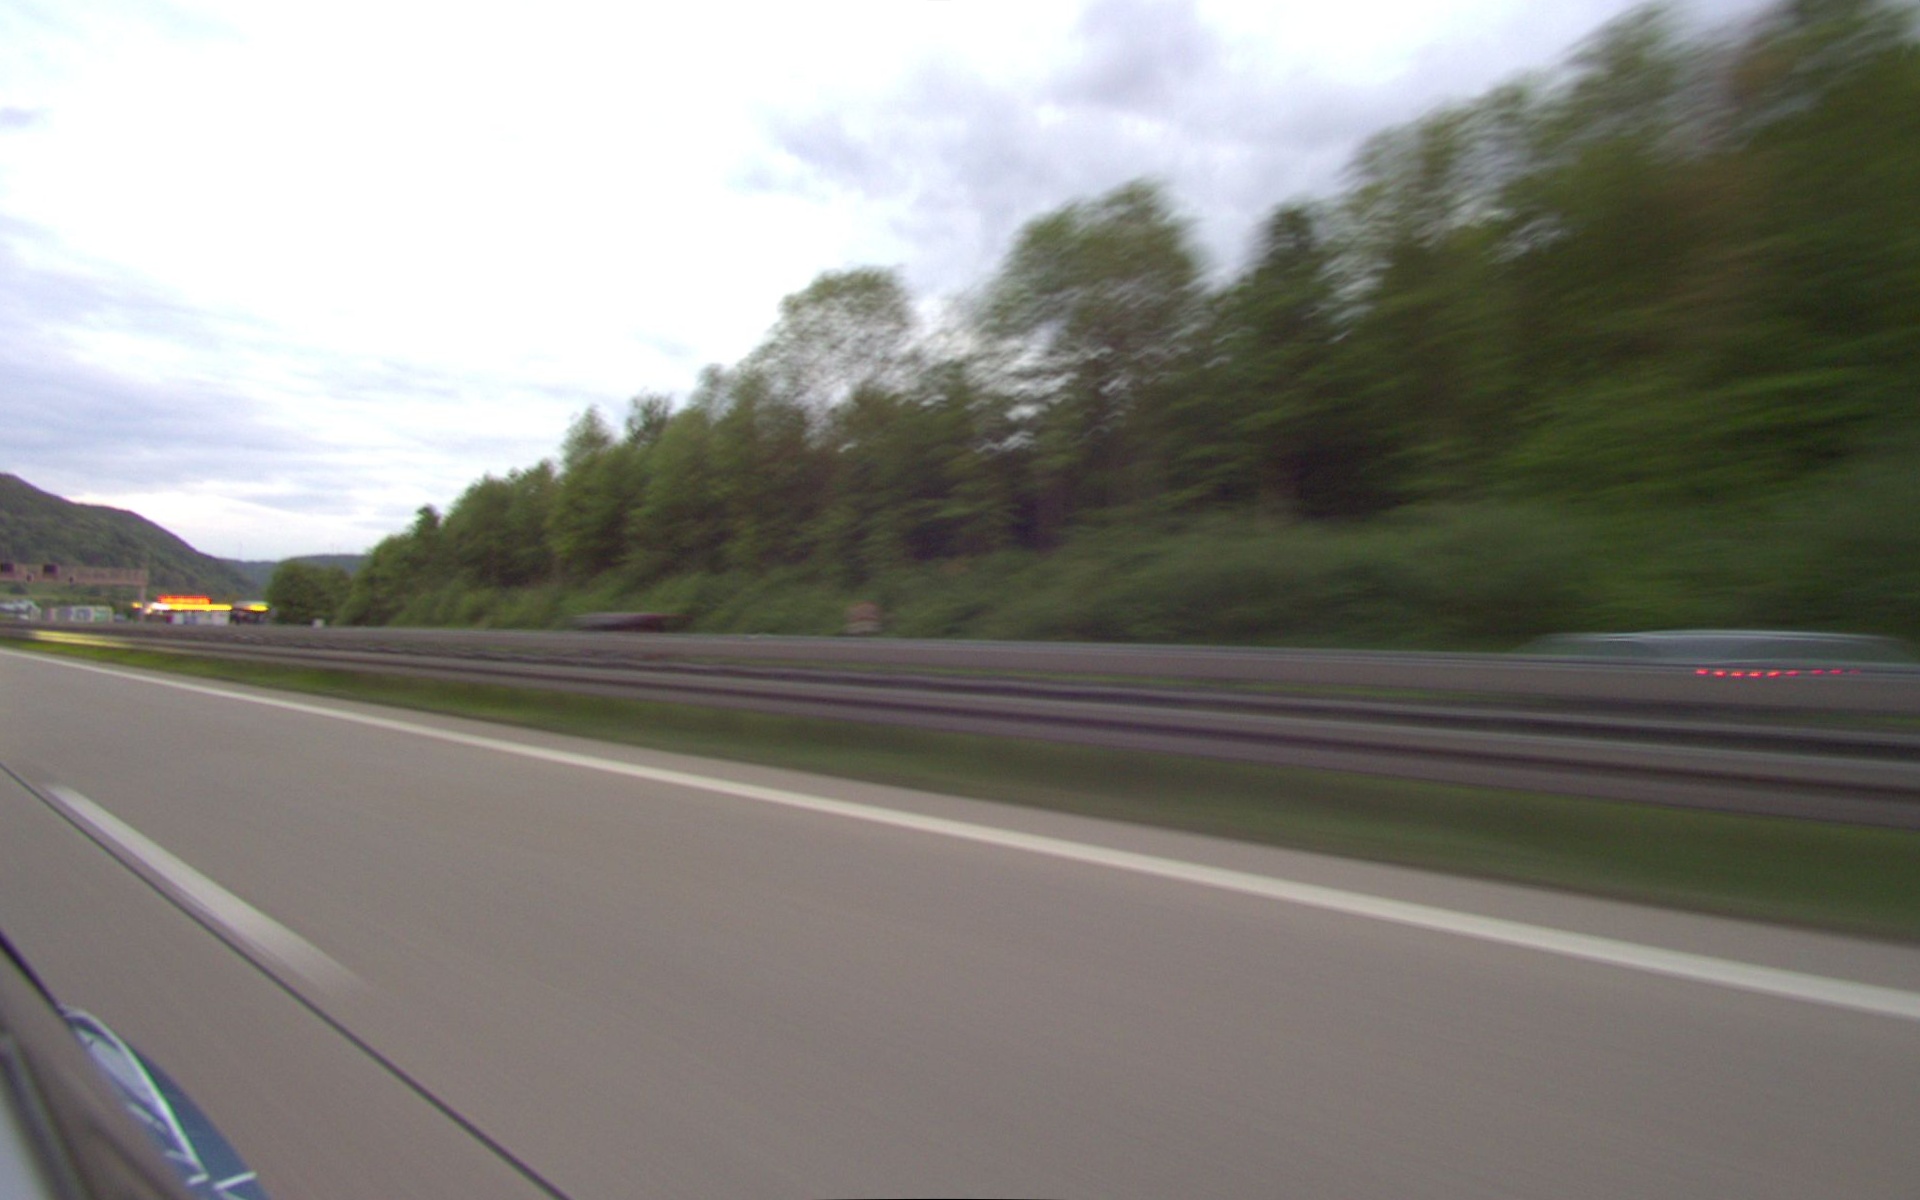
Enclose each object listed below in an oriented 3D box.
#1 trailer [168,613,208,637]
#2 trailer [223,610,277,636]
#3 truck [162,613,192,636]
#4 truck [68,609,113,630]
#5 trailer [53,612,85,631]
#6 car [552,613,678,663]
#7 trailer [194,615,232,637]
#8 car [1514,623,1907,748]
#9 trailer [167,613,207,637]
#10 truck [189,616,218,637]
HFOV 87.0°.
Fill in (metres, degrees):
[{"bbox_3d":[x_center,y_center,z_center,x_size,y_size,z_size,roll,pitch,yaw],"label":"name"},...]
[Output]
[{"bbox_3d":[-143.817,4.616,188.363,15.940,4.292,2.986,-1,-1,42],"label":"trailer"},{"bbox_3d":[-104.571,3.369,149.318,3.018,3.707,13.384,0,-1,-19],"label":"trailer"},{"bbox_3d":[-149.899,4.719,193.666,8.861,4.292,2.986,-1,-1,42],"label":"truck"},{"bbox_3d":[-147.576,3.372,171.684,13.765,3.451,2.847,-1,-1,37],"label":"truck"},{"bbox_3d":[-165.537,3.991,188.039,13.846,3.451,2.843,-1,-1,42],"label":"trailer"},{"bbox_3d":[-12.838,1.348,37.494,5.657,1.747,1.829,-1,-1,41],"label":"car"},{"bbox_3d":[-129.318,4.530,175.100,12.712,3.707,2.843,-1,-1,42],"label":"trailer"},{"bbox_3d":[11.643,1.205,15.997,4.774,1.651,1.829,-1,-1,42],"label":"car"},{"bbox_3d":[-143.890,4.615,188.280,15.940,4.292,2.986,-1,-1,42],"label":"trailer"},{"bbox_3d":[-134.411,4.661,179.705,7.026,3.668,2.843,-1,-1,42],"label":"truck"}]
